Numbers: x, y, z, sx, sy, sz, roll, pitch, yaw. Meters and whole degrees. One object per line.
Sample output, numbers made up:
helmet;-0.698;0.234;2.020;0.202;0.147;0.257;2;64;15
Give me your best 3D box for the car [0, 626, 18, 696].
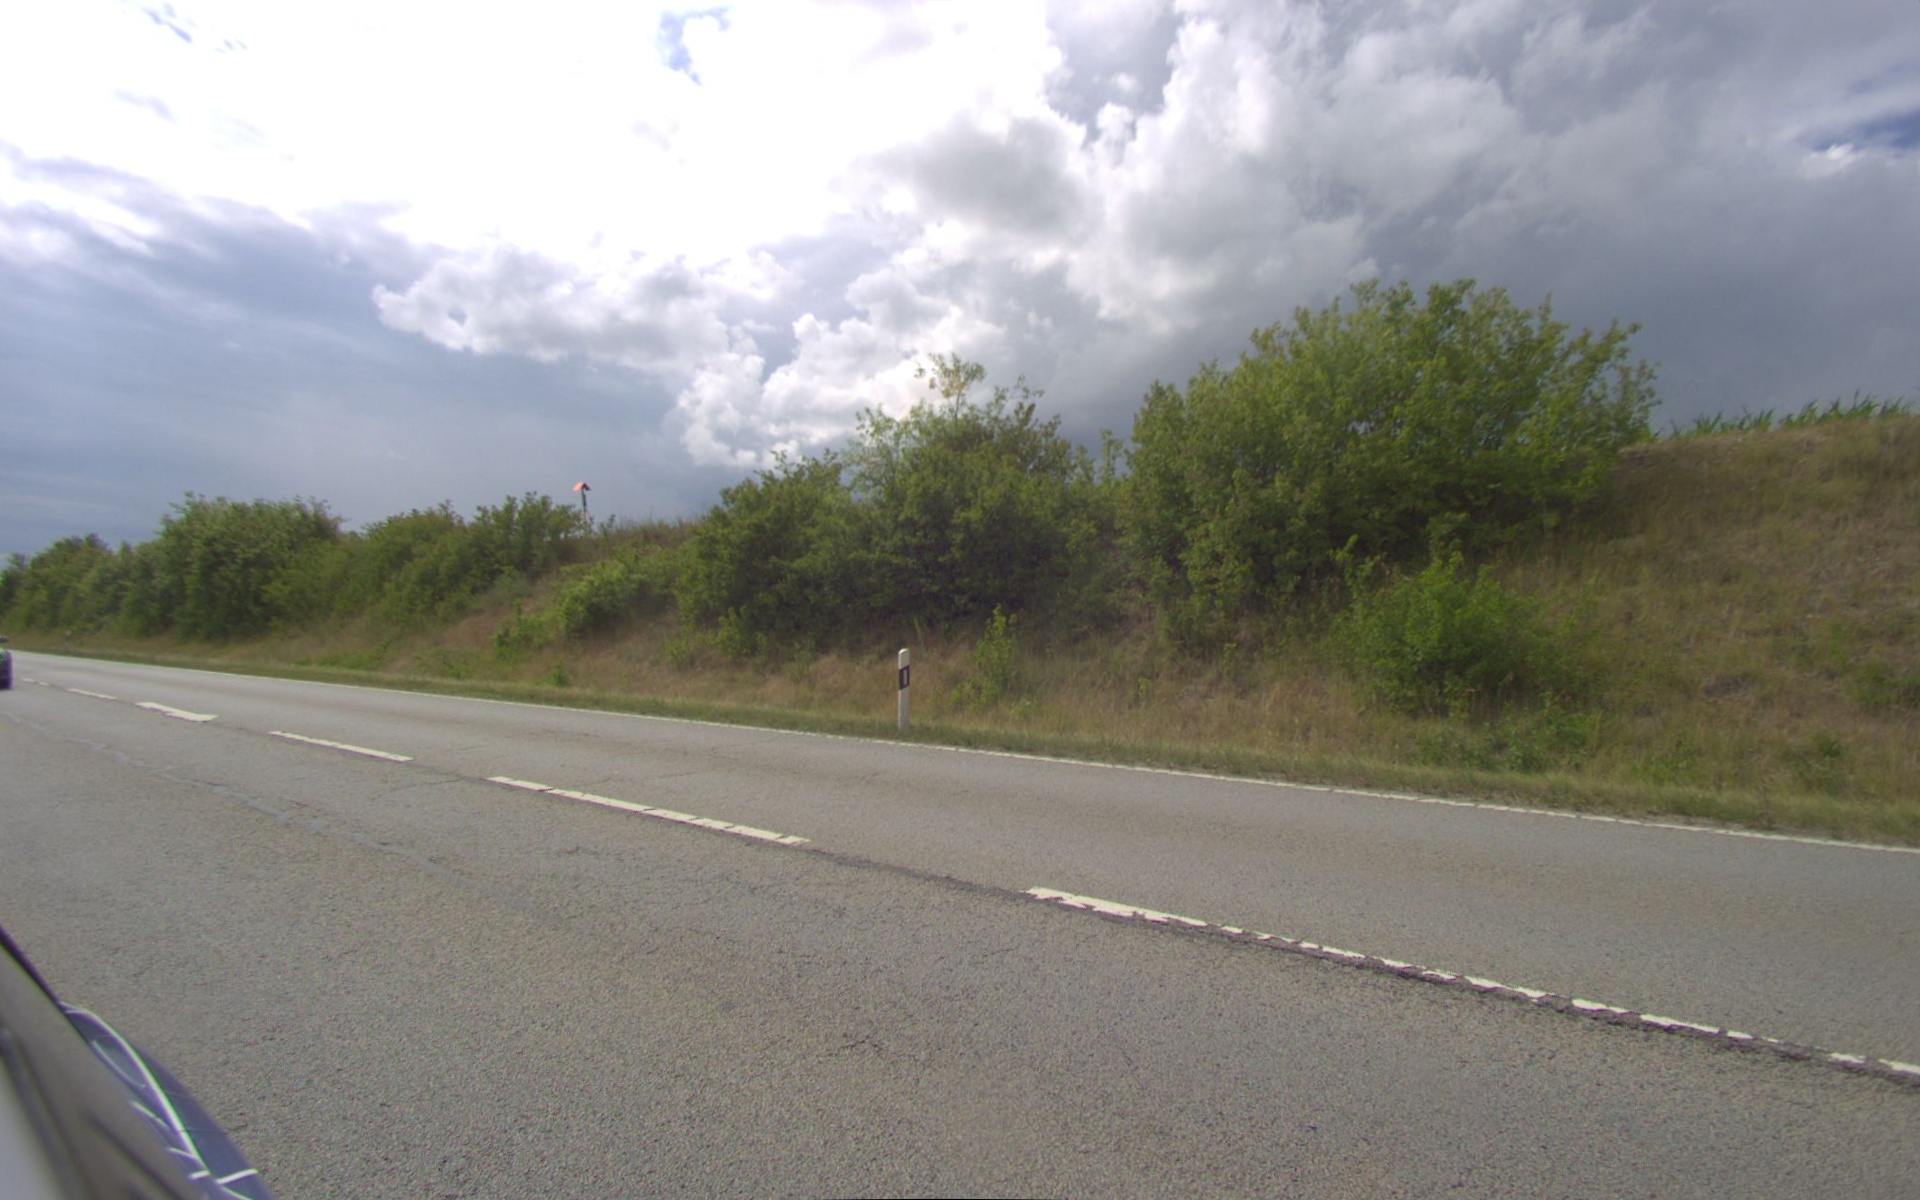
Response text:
car;-22.445;1.344;22.239;4.637;1.455;1.974;-1;0;40
